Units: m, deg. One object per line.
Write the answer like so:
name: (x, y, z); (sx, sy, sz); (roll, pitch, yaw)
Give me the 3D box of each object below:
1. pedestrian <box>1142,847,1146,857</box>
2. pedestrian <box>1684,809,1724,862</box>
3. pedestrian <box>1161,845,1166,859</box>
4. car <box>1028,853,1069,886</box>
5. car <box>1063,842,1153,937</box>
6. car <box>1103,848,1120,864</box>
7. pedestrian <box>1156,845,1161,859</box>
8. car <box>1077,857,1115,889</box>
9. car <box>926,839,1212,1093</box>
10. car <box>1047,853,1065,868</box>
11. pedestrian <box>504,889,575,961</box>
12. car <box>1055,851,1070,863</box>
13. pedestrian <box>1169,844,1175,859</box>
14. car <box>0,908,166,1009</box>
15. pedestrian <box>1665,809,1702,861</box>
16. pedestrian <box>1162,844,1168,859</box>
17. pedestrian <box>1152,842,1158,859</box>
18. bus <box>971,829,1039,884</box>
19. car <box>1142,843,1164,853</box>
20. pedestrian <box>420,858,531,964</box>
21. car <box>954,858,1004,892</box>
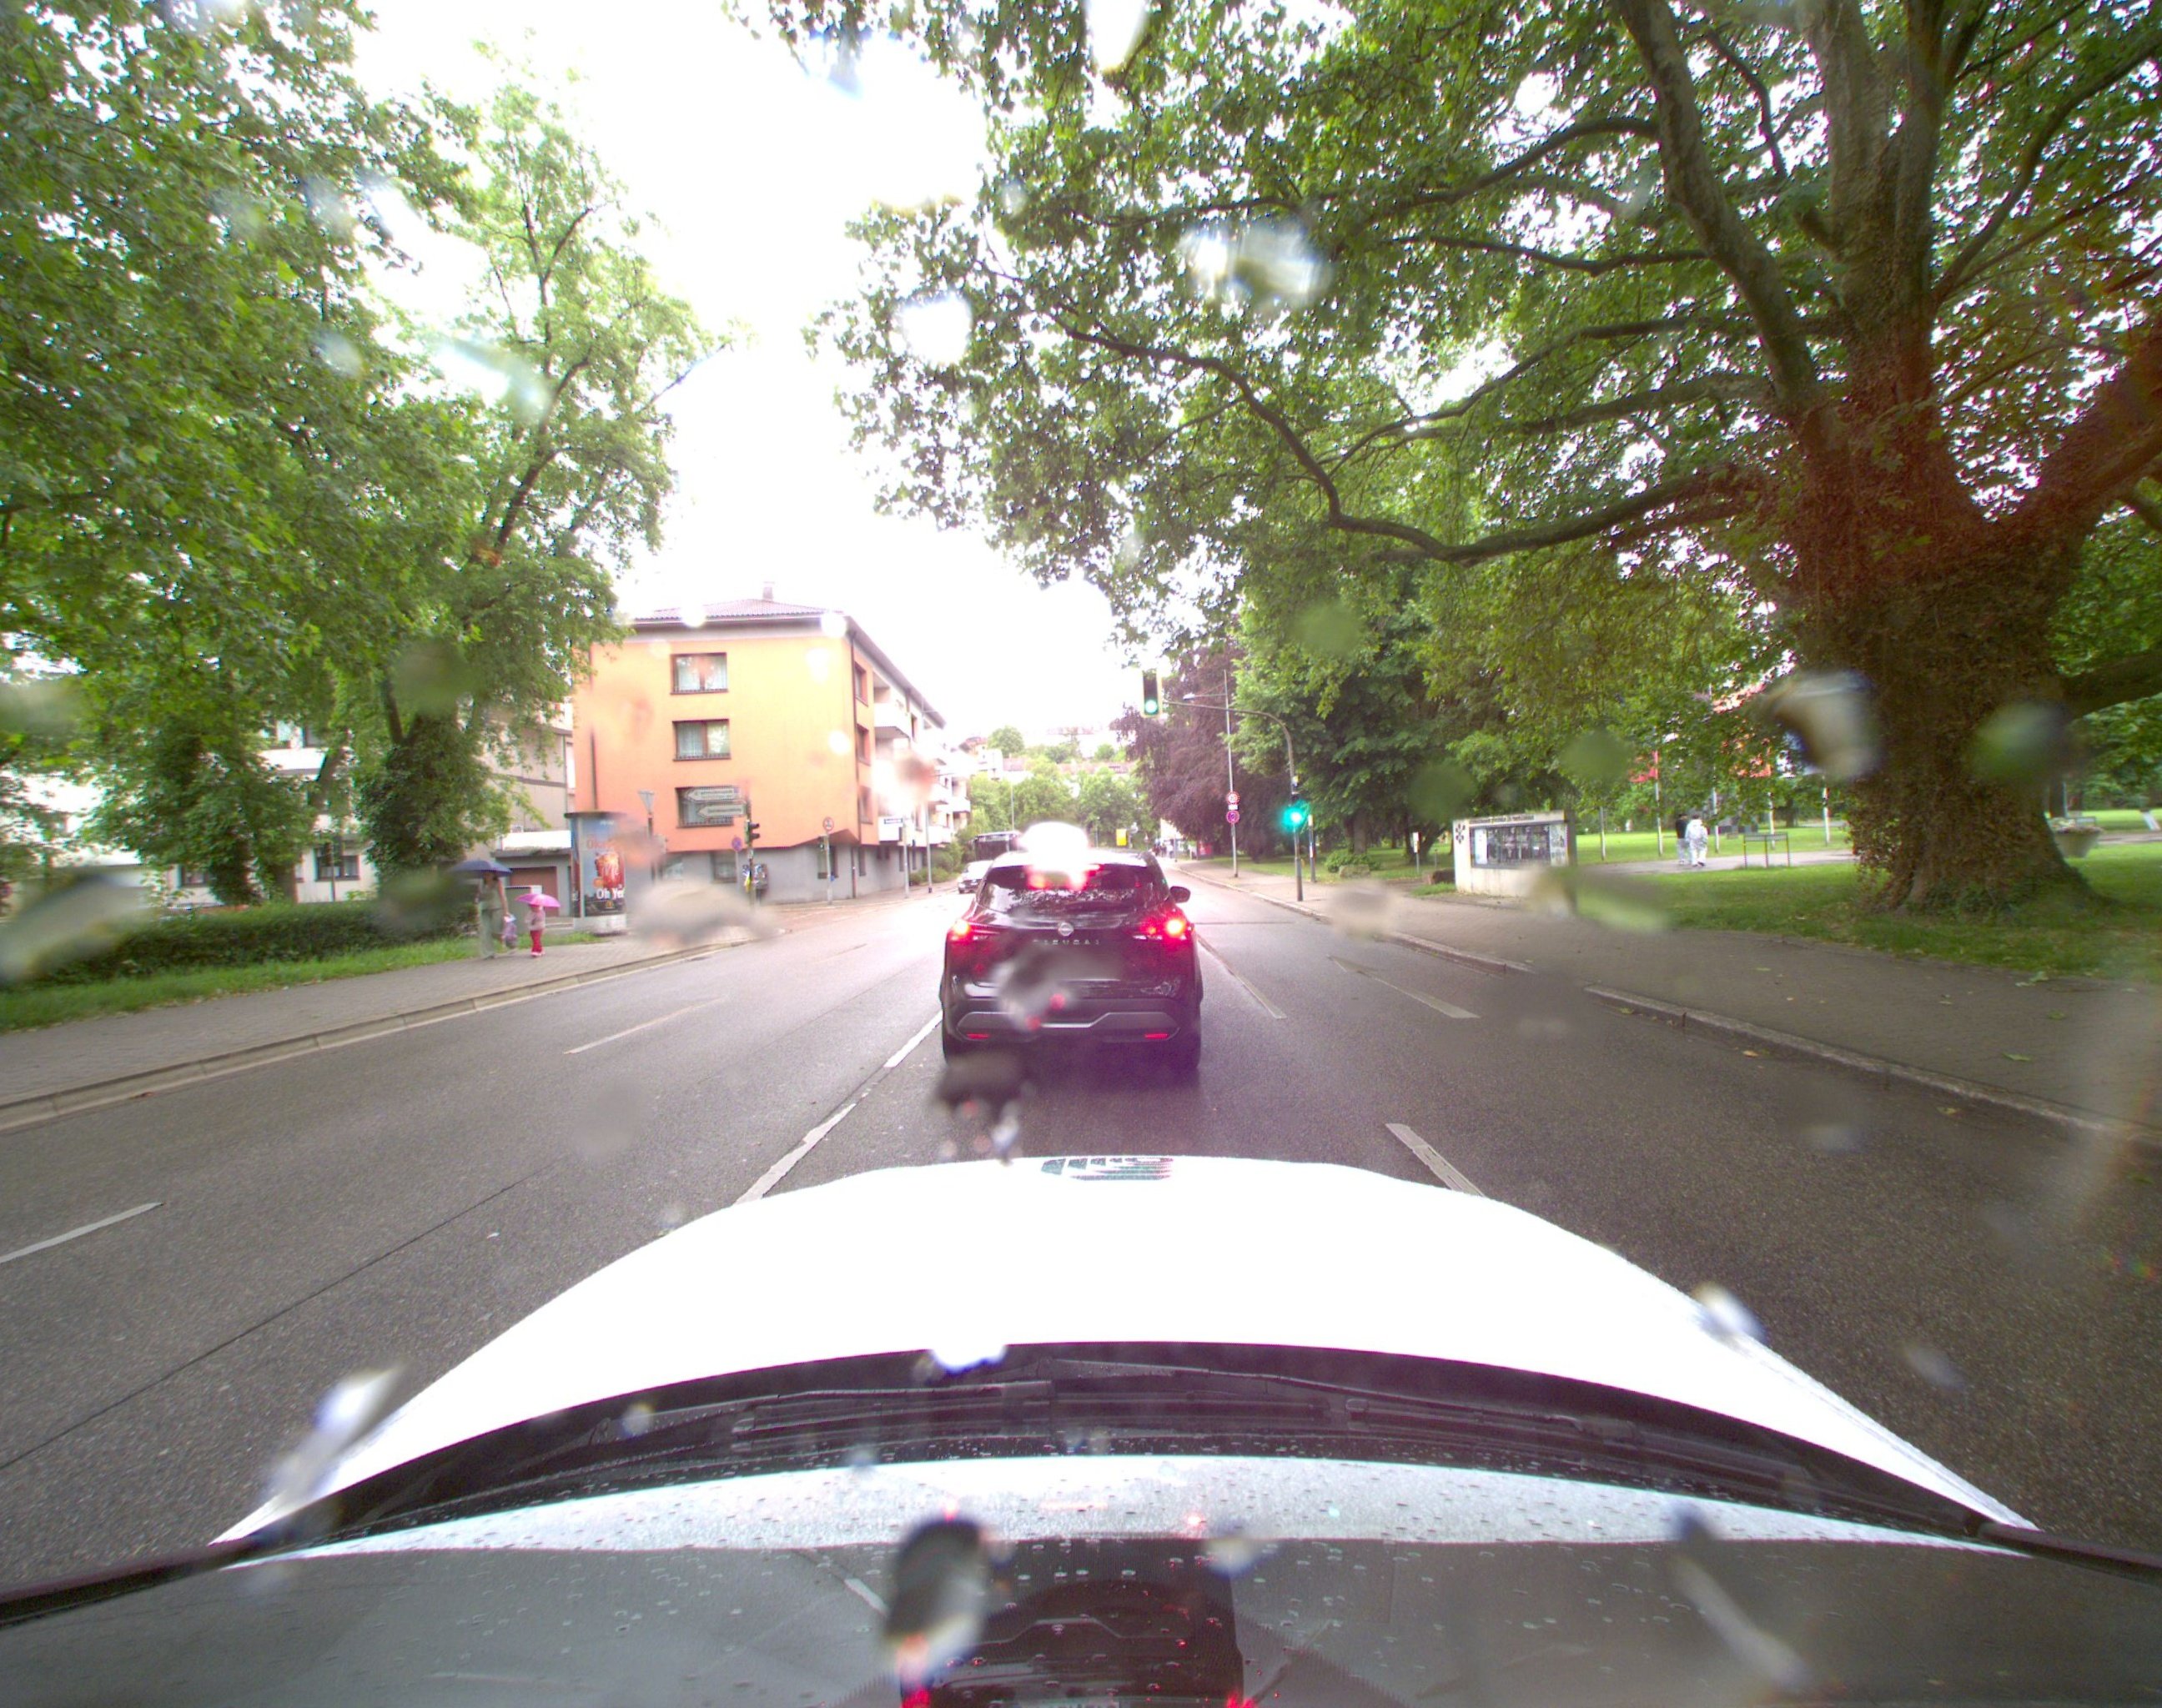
pedestrian: (13.257, -0.496, 171.567); (0.696, 2.013, 0.583); (-3, 0, 1)
pedestrian: (20.315, -0.596, 26.558); (0.663, 1.712, 0.788); (0, -1, -7)
pedestrian: (9.527, -0.202, 94.362); (0.513, 1.655, 0.550); (0, -1, 1)
car: (-1.513, 0.724, 39.042); (1.618, 1.415, 3.456); (-3, 0, 2)
car: (0.632, 0.670, 17.389); (1.615, 1.709, 3.774); (-3, 0, 3)
car: (3.157, 0.191, 83.280); (1.618, 1.415, 3.456); (-3, 0, 2)
pedestrian: (9.085, -0.287, 96.026); (0.542, 1.651, 0.490); (0, -1, 2)
car: (0.761, 0.922, 41.222); (1.802, 1.417, 4.031); (-2, 0, 1)
car: (-0.015, 0.722, 7.138); (1.799, 1.590, 4.001); (0, -1, 2)
car: (-2.746, 0.720, 88.607); (1.671, 1.469, 4.217); (-4, 0, 1)
pedestrian: (-9.525, 1.234, 14.357); (0.681, 1.175, 0.827); (-1, 0, 1)
car: (-2.630, 0.410, 114.313); (1.743, 1.633, 3.636); (-3, 0, 2)
pedestrian: (11.052, -0.362, 98.756); (0.616, 1.779, 0.779); (-3, 0, 1)
car: (-18.009, 1.739, 13.814); (3.182, 1.524, 1.507); (0, -1, -1)
pedestrian: (20.531, -0.642, 27.764); (0.663, 1.756, 0.722); (0, -1, -7)
pedestrian: (9.894, -0.293, 96.088); (0.696, 1.651, 0.628); (0, -1, 2)
pedestrian: (9.677, -0.448, 106.770); (0.764, 2.183, 0.712); (0, -1, 5)
bus: (-4.663, 0.167, 52.349); (2.756, 2.974, 11.786); (-3, 0, 2)
car: (14.476, -1.250, 163.754); (3.986, 1.684, 1.994); (-3, 0, -9)
pedestrian: (-10.490, 0.950, 14.168); (0.988, 1.742, 1.210); (-1, 0, 1)
car: (-4.907, 0.978, 39.786); (1.802, 1.417, 4.031); (-4, 0, 1)
